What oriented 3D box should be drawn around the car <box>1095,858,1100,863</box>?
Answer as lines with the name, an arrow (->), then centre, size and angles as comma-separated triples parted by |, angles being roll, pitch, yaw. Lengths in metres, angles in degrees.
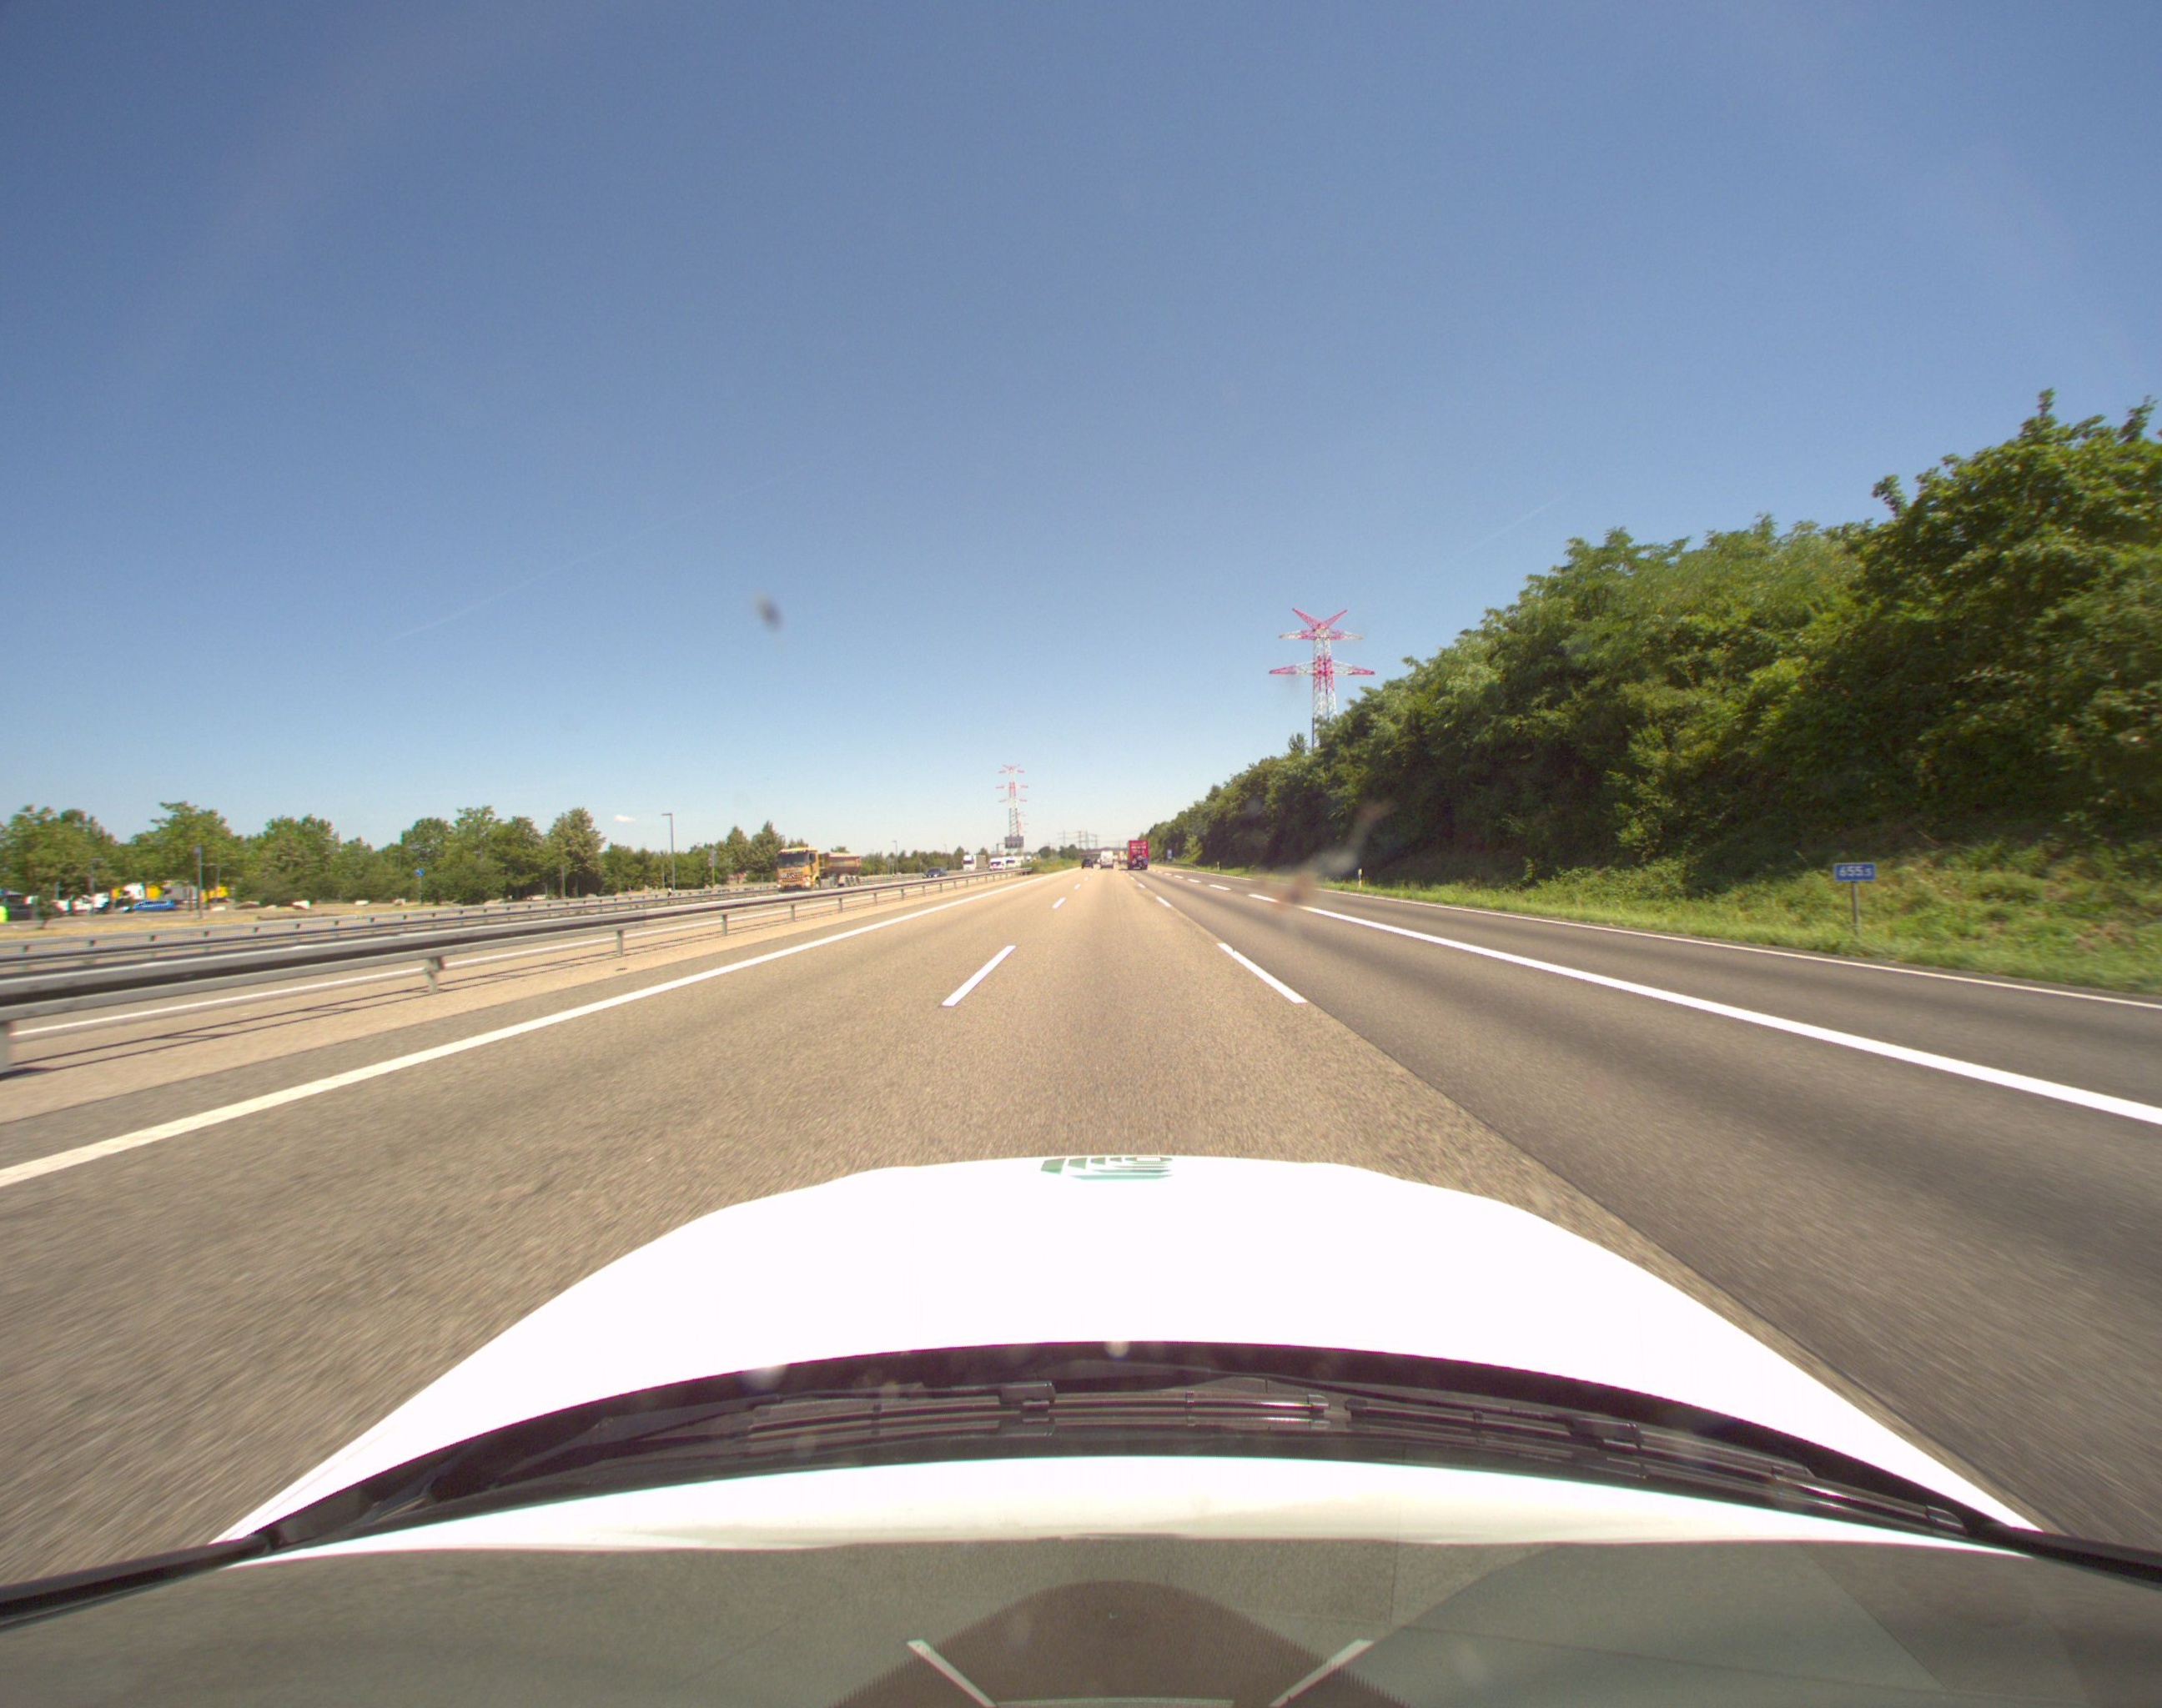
car -> 5.015, 1.923, 246.784 | 1.741, 1.634, 4.005 | -1, 0, 1

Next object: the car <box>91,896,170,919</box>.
car -> -79.973, 4.477, 68.588 | 4.027, 1.656, 1.787 | -1, 0, -36

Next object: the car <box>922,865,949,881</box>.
car -> -14.140, 1.825, 79.161 | 1.809, 1.390, 3.904 | -3, 0, 1

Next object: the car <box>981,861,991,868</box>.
car -> -21.763, 2.462, 186.330 | 1.809, 1.390, 3.904 | -3, 0, 1

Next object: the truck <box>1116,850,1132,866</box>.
truck -> 12.587, 1.067, 241.274 | 4.315, 4.524, 16.084 | -1, 0, 2

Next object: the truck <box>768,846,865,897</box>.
truck -> -19.369, 1.207, 60.815 | 2.707, 3.259, 12.393 | -2, 0, 2

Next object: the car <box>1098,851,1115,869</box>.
car -> 3.982, 0.890, 128.028 | 2.611, 2.759, 6.098 | -1, 0, 1

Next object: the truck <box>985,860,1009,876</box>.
truck -> -13.526, 2.183, 132.402 | 2.707, 2.421, 8.110 | -2, 0, 2

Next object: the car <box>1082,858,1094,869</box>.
car -> 1.197, 1.573, 140.006 | 1.986, 1.750, 4.001 | -1, 0, 1

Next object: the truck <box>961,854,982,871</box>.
truck -> -25.377, 2.006, 189.416 | 2.707, 3.717, 12.393 | -2, 0, 2

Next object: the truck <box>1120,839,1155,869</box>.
truck -> 7.822, -0.001, 115.652 | 4.315, 3.941, 16.084 | -1, 0, 2
